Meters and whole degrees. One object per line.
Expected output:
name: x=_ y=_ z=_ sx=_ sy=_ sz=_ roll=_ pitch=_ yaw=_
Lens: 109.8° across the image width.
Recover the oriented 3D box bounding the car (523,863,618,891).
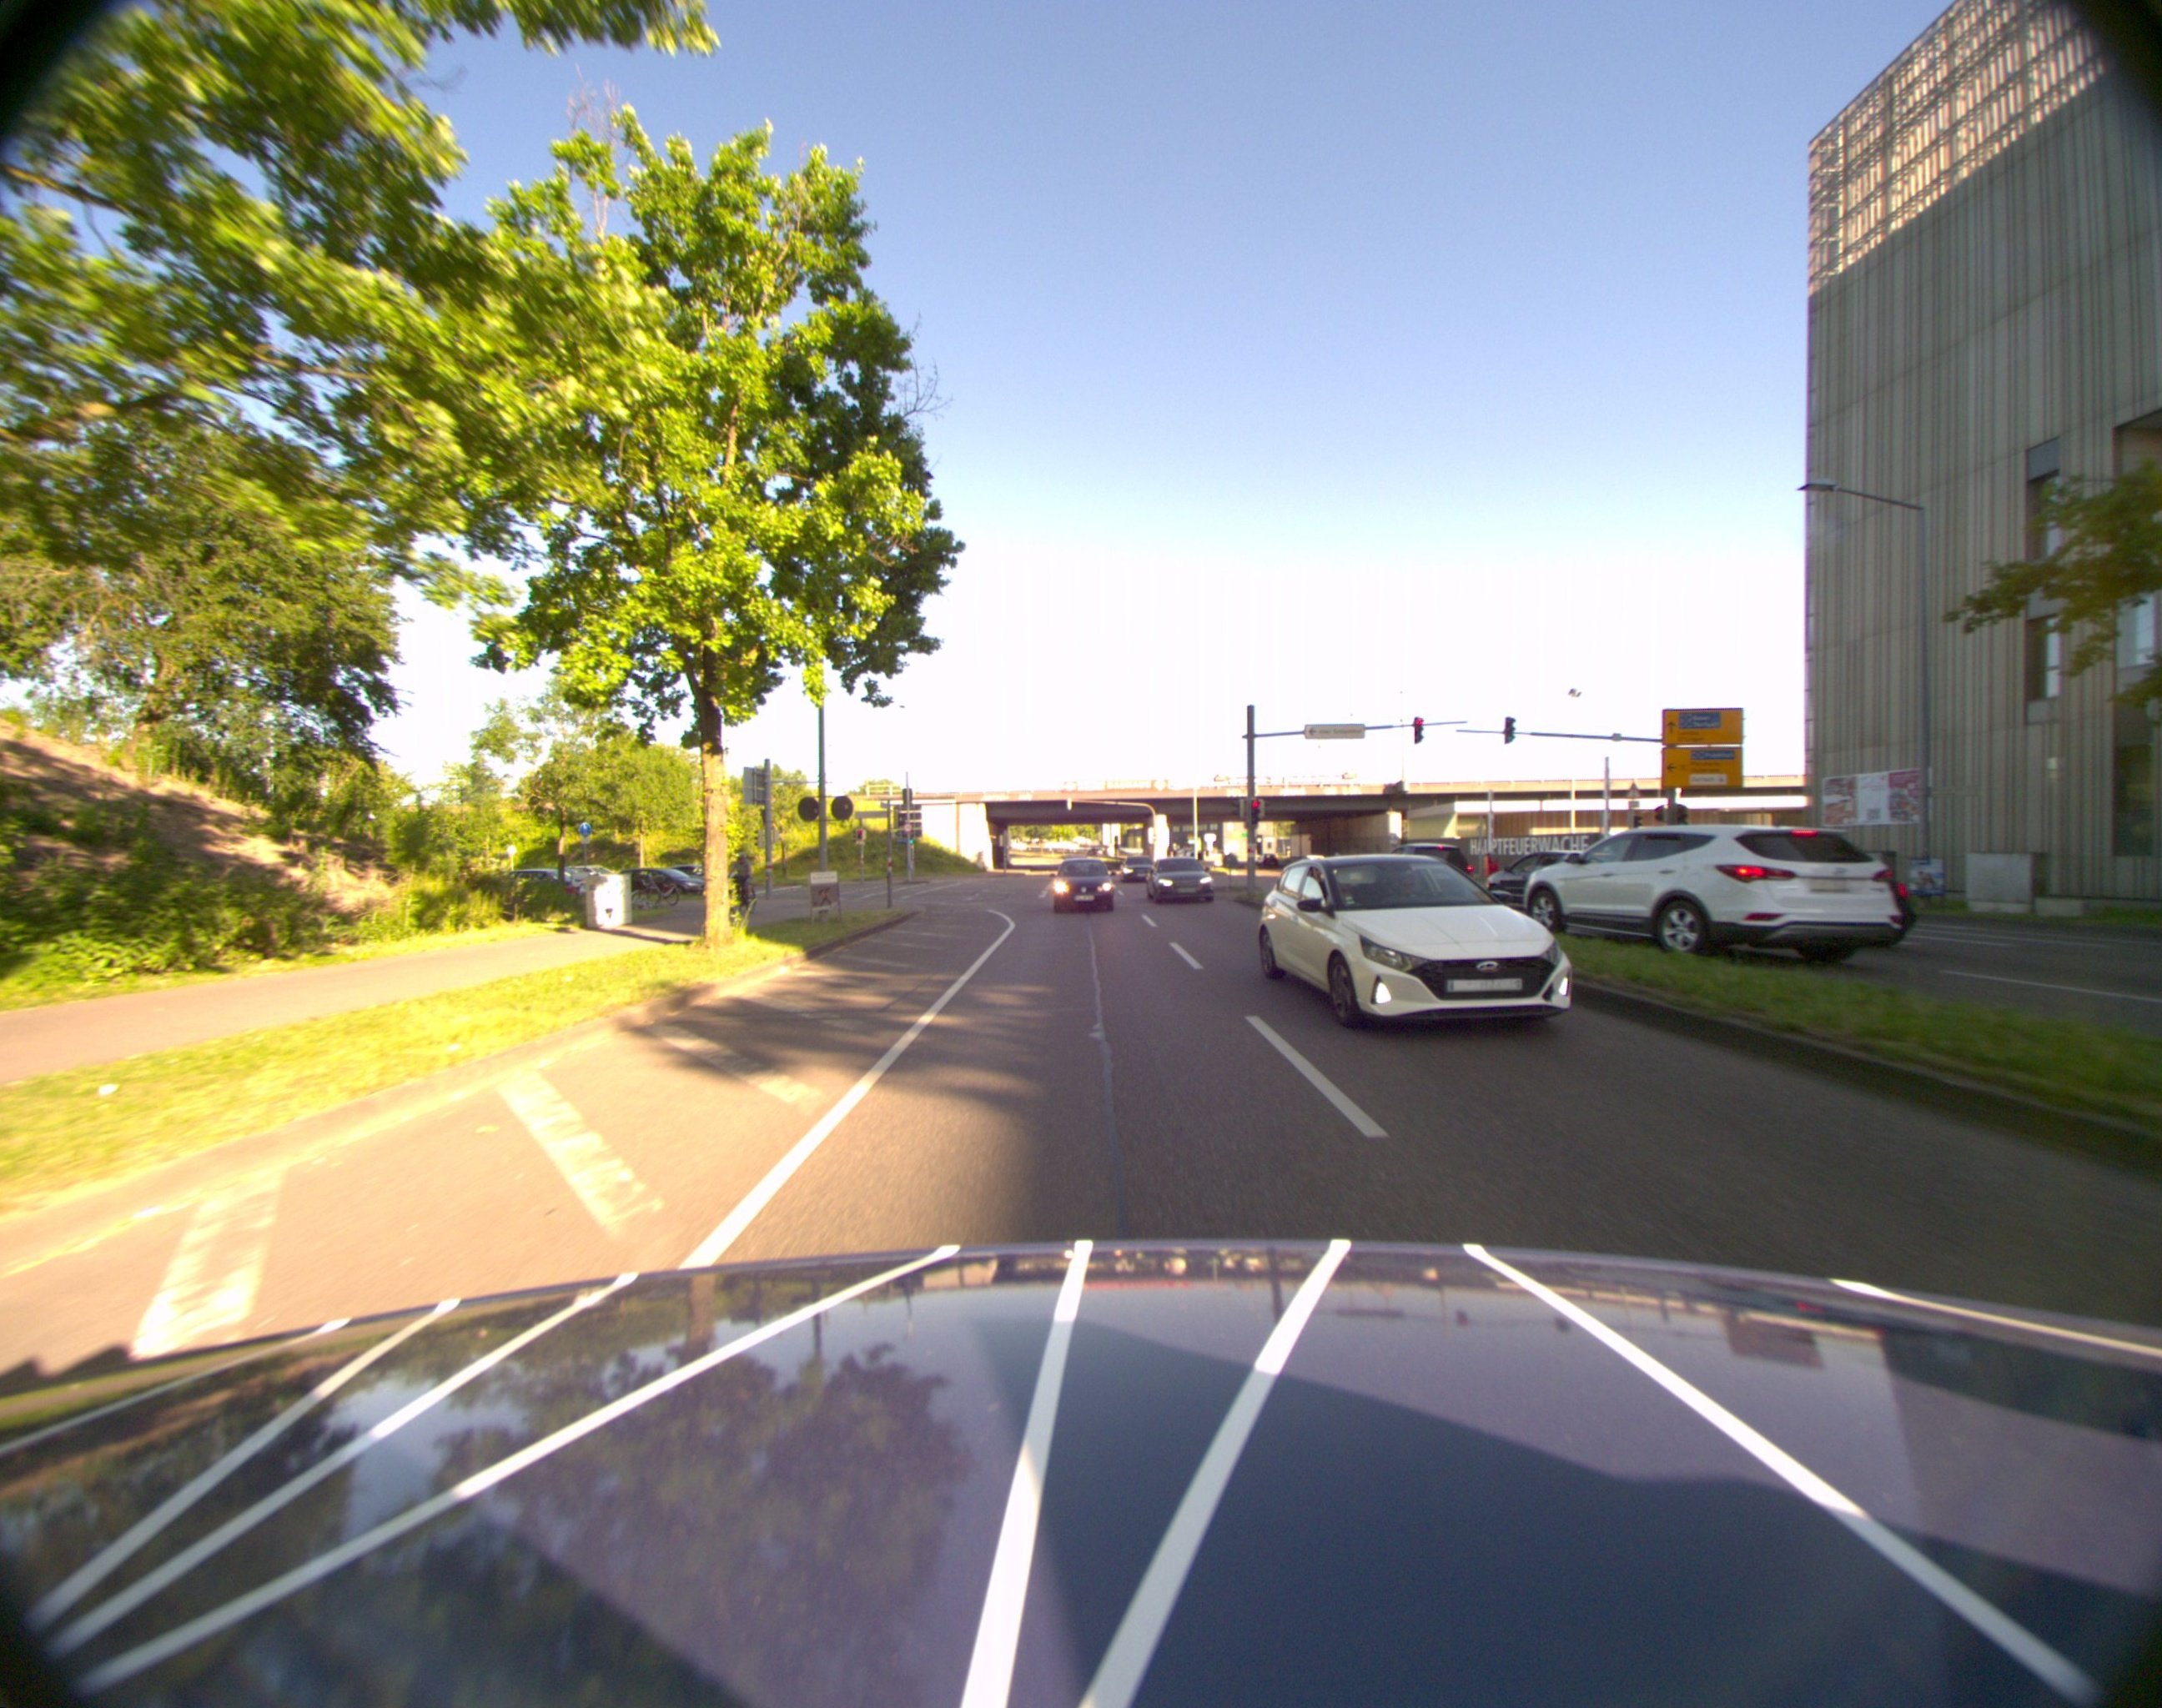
car: x=-26.719 y=1.193 z=39.858 sx=3.996 sy=1.352 sz=1.495 roll=-1 pitch=2 yaw=3

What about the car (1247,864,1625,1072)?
car: x=3.005 y=0.845 z=7.505 sx=1.783 sy=1.400 sz=4.074 roll=-2 pitch=0 yaw=-1

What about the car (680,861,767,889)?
car: x=-19.970 y=1.171 z=42.532 sx=3.995 sy=1.424 sz=1.816 roll=-1 pitch=2 yaw=4

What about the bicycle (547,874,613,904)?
bicycle: x=-18.456 y=1.292 z=28.005 sx=2.259 sy=1.099 sz=0.700 roll=-1 pitch=-2 yaw=15

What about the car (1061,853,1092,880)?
car: x=-0.262 y=0.716 z=45.187 sx=1.702 sy=1.478 sz=3.946 roll=-1 pitch=0 yaw=0

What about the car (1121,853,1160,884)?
car: x=3.143 y=0.728 z=40.715 sx=1.702 sy=1.528 sz=3.946 roll=-1 pitch=0 yaw=0

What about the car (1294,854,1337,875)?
car: x=17.304 y=0.757 z=56.265 sx=1.707 sy=1.433 sz=4.880 roll=0 pitch=0 yaw=0

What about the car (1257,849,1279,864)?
car: x=20.207 y=0.252 z=82.349 sx=1.571 sy=1.524 sz=3.426 roll=-1 pitch=0 yaw=0

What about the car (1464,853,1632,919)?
car: x=11.162 y=0.706 z=18.503 sx=1.707 sy=1.432 sz=3.753 roll=0 pitch=0 yaw=-1

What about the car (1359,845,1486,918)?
car: x=8.003 y=0.593 z=18.118 sx=1.605 sy=1.571 sz=3.213 roll=0 pitch=0 yaw=1

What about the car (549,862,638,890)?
car: x=-27.600 y=1.236 z=43.086 sx=3.996 sy=1.424 sz=1.590 roll=-1 pitch=2 yaw=3

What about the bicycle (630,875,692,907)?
bicycle: x=-14.071 y=1.240 z=25.475 sx=1.993 sy=1.046 sz=0.455 roll=-1 pitch=1 yaw=13

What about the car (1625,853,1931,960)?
car: x=10.931 y=0.726 z=12.323 sx=1.624 sy=1.461 sz=3.640 roll=1 pitch=0 yaw=1

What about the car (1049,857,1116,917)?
car: x=0.031 y=0.876 z=21.873 sx=1.702 sy=1.474 sz=4.052 roll=-2 pitch=0 yaw=0

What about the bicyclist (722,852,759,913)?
bicyclist: x=-9.144 y=0.737 z=20.418 sx=0.566 sy=1.600 sz=0.865 roll=-1 pitch=1 yaw=0

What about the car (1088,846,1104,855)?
car: x=2.722 y=-0.665 z=140.353 sx=1.817 sy=1.687 sz=3.994 roll=-2 pitch=1 yaw=-16

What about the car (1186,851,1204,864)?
car: x=13.453 y=0.414 z=89.705 sx=1.632 sy=1.531 sz=4.000 roll=1 pitch=0 yaw=1

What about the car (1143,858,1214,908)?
car: x=3.045 y=0.878 z=24.485 sx=1.702 sy=1.396 sz=4.364 roll=-1 pitch=0 yaw=0

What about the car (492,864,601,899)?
car: x=-26.141 y=1.309 z=37.263 sx=3.916 sy=1.521 sz=1.842 roll=-1 pitch=2 yaw=-1

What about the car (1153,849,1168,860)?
car: x=11.441 y=0.008 z=109.570 sx=1.727 sy=1.531 sz=4.000 roll=1 pitch=0 yaw=0

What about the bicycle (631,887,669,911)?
bicycle: x=-13.127 y=1.355 z=23.101 sx=0.844 sy=0.618 sz=2.190 roll=1 pitch=-1 yaw=-34

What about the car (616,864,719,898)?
car: x=-19.867 y=1.290 z=36.605 sx=3.995 sy=1.467 sz=1.806 roll=-1 pitch=2 yaw=4

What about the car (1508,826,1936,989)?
car: x=8.033 y=0.550 z=10.301 sx=1.828 sy=1.672 sz=4.658 roll=1 pitch=0 yaw=0

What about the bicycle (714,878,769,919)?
bicycle: x=-9.141 y=1.171 z=20.544 sx=0.573 sy=0.986 sz=2.046 roll=-1 pitch=0 yaw=0

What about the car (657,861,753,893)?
car: x=-19.292 y=1.169 z=39.087 sx=3.995 sy=1.467 sz=1.817 roll=-1 pitch=2 yaw=5
